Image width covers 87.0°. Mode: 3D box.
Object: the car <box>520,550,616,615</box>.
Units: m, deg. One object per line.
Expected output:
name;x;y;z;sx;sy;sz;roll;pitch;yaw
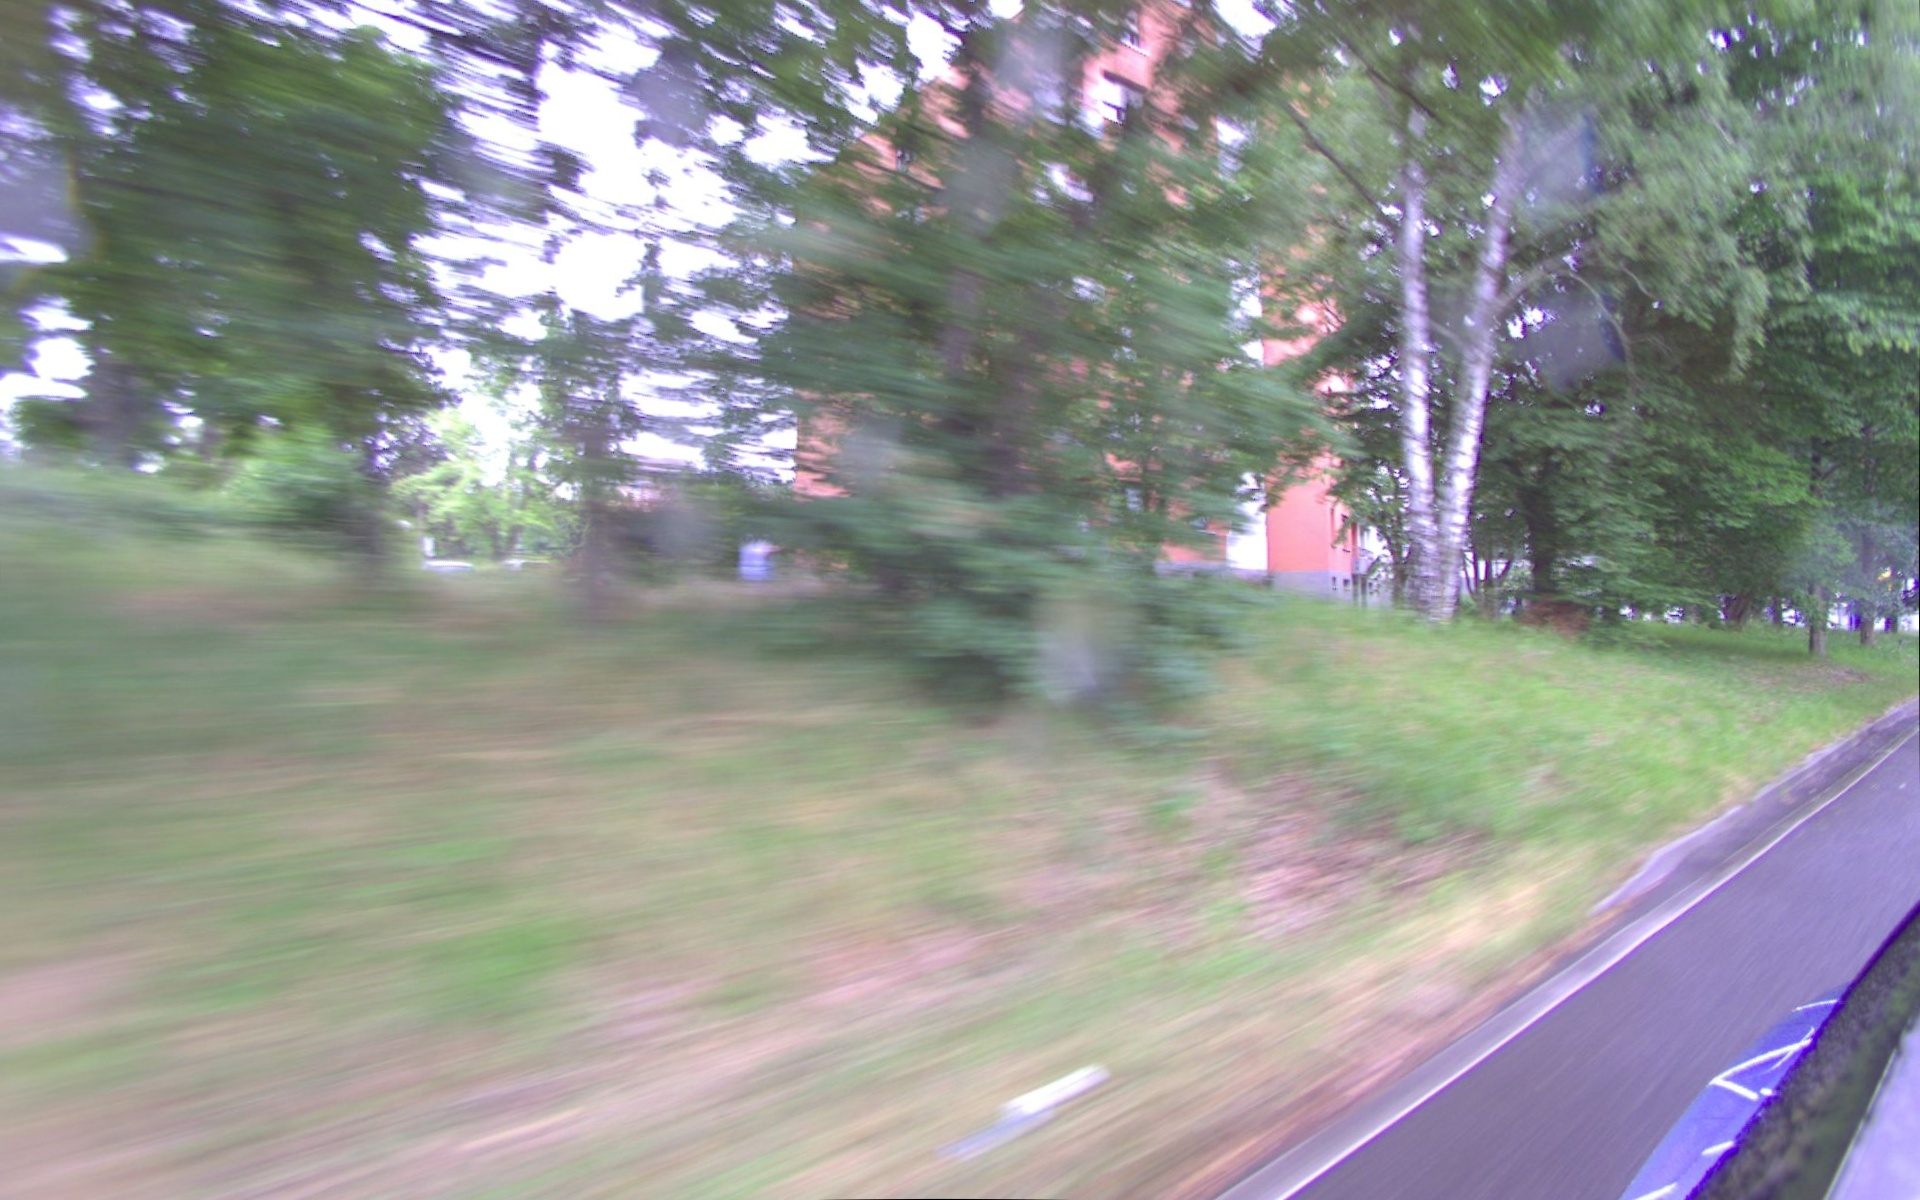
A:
car;-13.343;-0.550;34.321;1.963;2.039;3.997;2;-2;-38

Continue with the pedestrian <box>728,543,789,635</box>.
pedestrian;-2.922;-0.157;14.652;0.613;1.300;0.656;2;0;-37
